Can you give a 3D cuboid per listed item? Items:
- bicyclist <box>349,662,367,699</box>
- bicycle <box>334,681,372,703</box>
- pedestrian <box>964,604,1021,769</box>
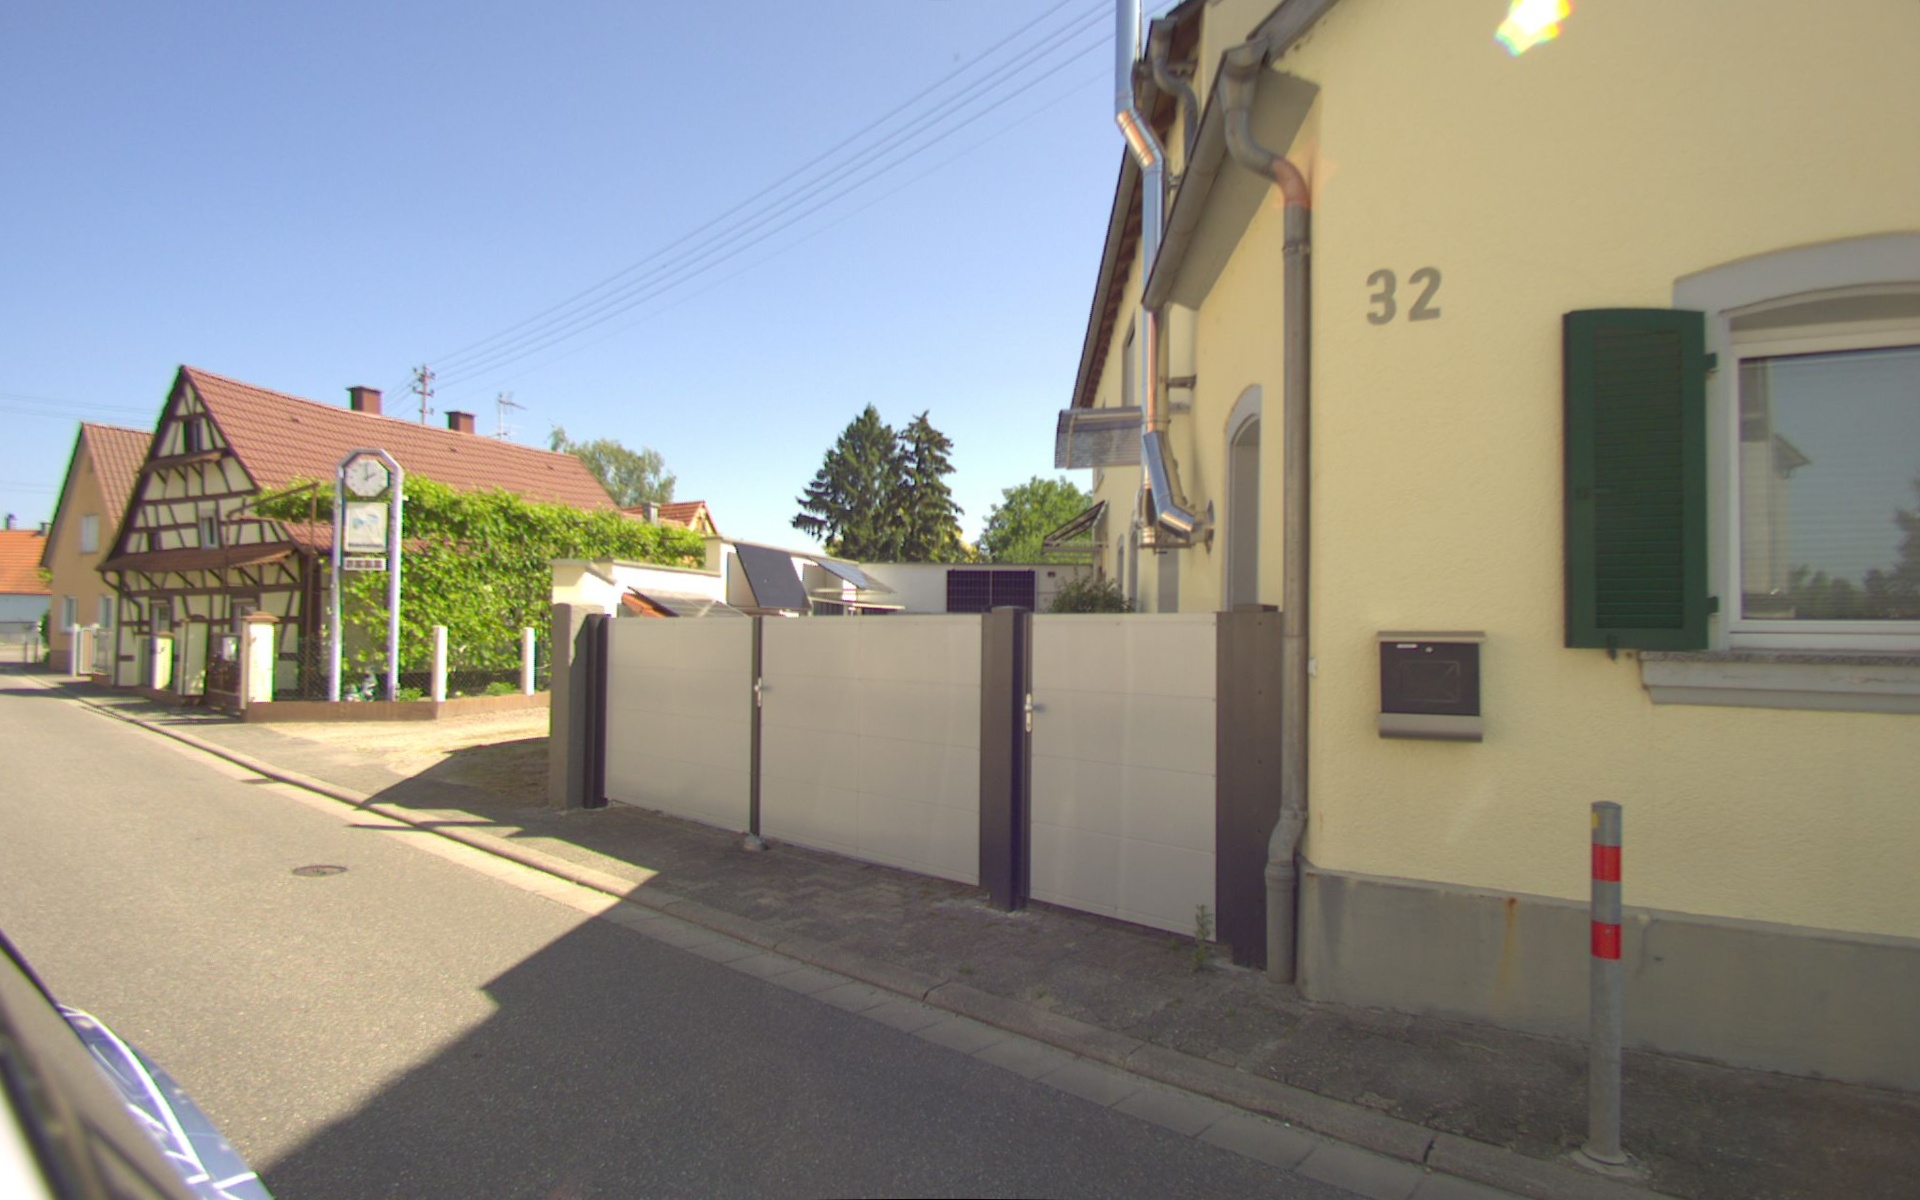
[{"bbox_3d":[-9.777,1.307,16.434,0.243,0.586,0.219,1,-1,-32],"label":"bicyclist"},{"bbox_3d":[-9.835,1.488,16.390,0.526,0.307,0.220,-1,-1,-32],"label":"bicycle"},{"bbox_3d":[0.333,0.875,10.449,0.439,1.656,0.407,1,-1,-25],"label":"pedestrian"}]
